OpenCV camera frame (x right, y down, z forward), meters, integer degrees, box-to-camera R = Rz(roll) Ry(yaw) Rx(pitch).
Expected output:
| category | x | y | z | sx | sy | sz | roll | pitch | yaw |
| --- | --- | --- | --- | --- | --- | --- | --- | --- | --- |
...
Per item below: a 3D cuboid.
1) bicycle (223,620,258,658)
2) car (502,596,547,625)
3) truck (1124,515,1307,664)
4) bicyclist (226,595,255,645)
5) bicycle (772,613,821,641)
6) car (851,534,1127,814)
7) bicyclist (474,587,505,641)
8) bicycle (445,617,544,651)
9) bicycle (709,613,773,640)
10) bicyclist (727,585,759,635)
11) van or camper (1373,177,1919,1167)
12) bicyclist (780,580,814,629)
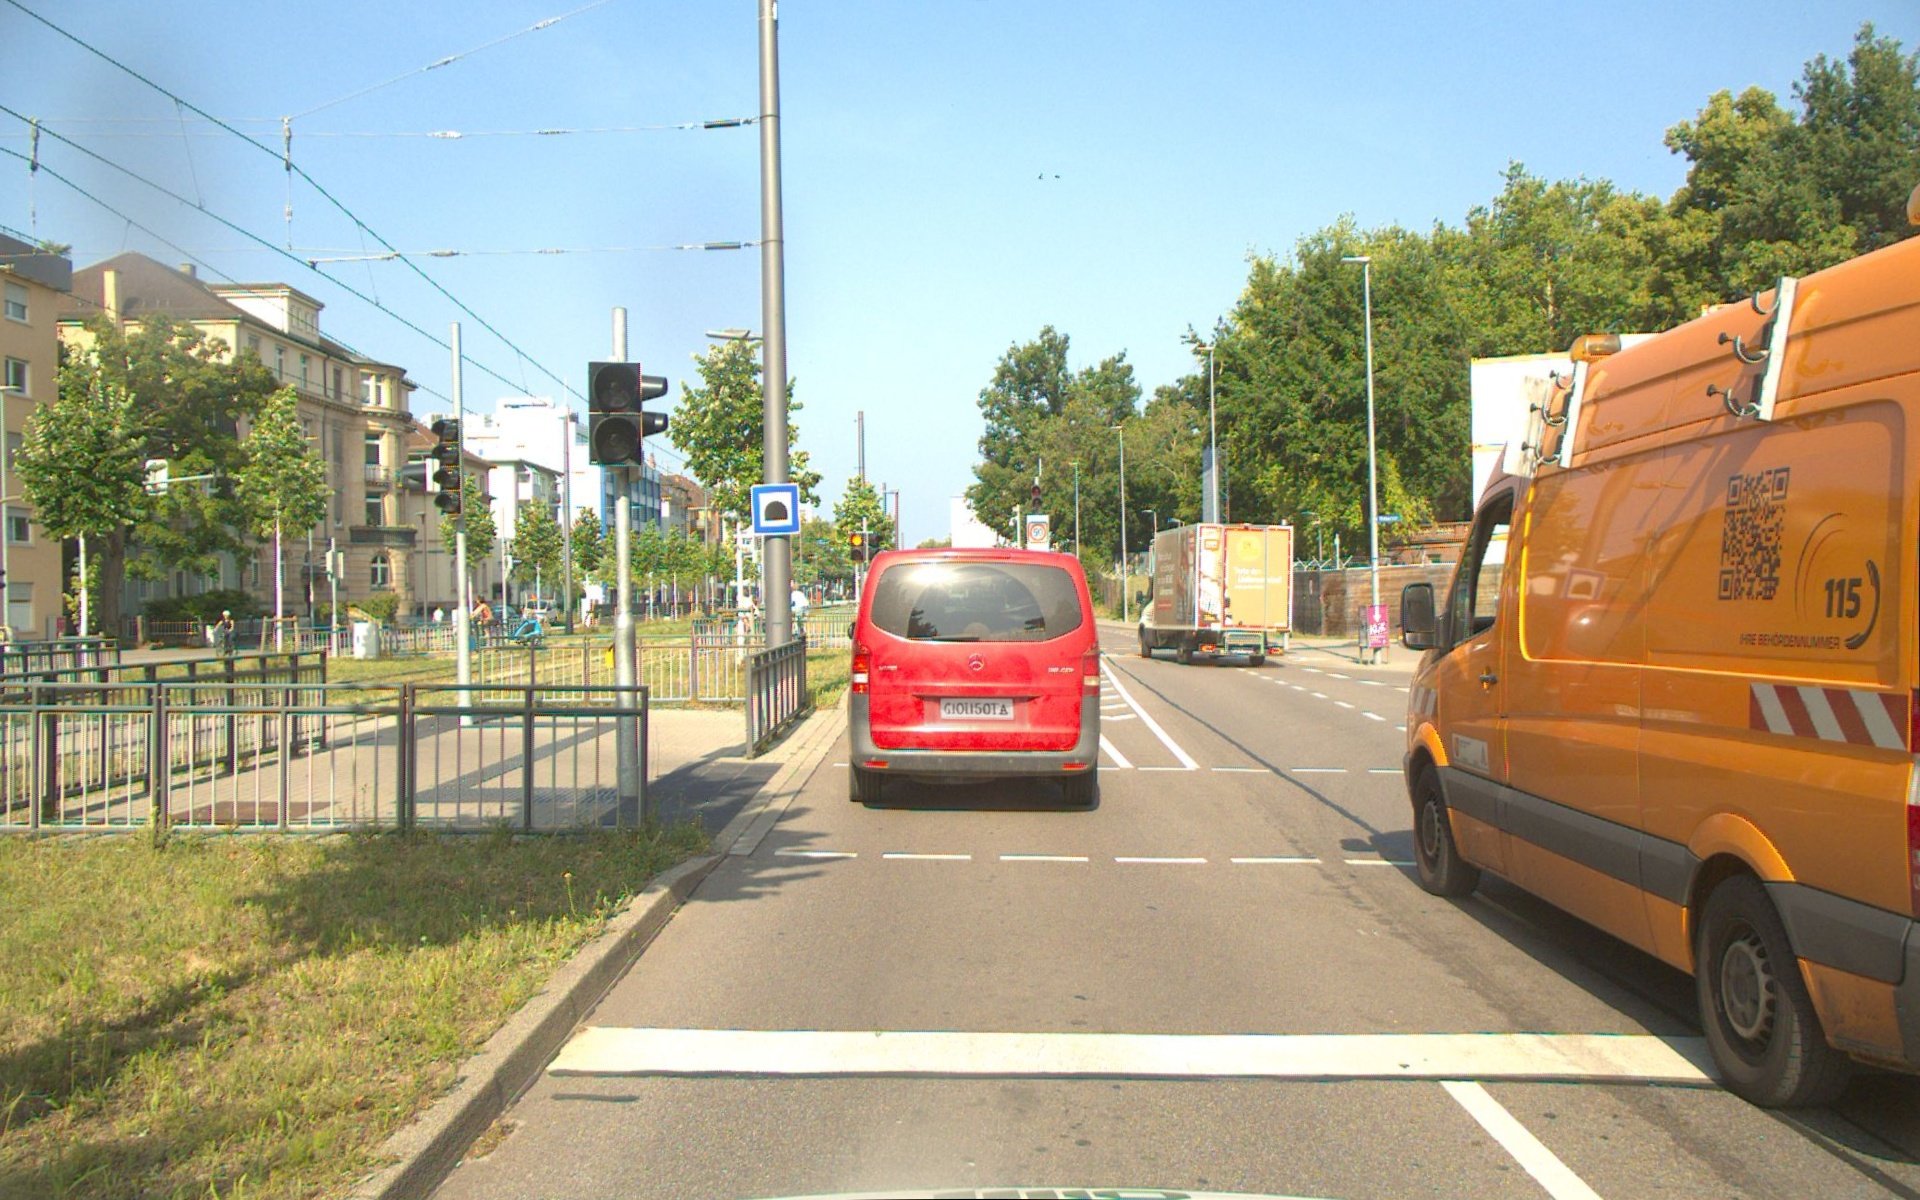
| category | x | y | z | sx | sy | sz | roll | pitch | yaw |
| --- | --- | --- | --- | --- | --- | --- | --- | --- | --- |
| bicycle | -26.770 | 1.442 | 61.571 | 0.681 | 1.369 | 1.755 | -1 | 0 | -6 |
| car | -33.087 | 0.806 | 125.856 | 2.204 | 2.049 | 5.260 | 1 | -2 | -3 |
| truck | 5.821 | -0.204 | 39.028 | 2.453 | 3.114 | 7.811 | 1 | 0 | -5 |
| bicyclist | -26.774 | 0.724 | 61.566 | 0.656 | 1.837 | 1.083 | -1 | 0 | -5 |
| bicycle | -4.919 | 0.818 | 49.851 | 0.704 | 0.812 | 1.602 | 1 | -1 | 27 |
| car | 0.177 | 0.499 | 13.258 | 1.862 | 1.892 | 3.999 | 1 | 0 | -1 |
| bicyclist | -14.764 | 0.436 | 51.920 | 0.875 | 1.657 | 0.889 | -1 | 0 | -14 |
| bicycle | -14.589 | 1.046 | 51.945 | 2.937 | 0.982 | 0.897 | -1 | 0 | -14 |
| bicycle | -6.901 | 0.831 | 52.112 | 1.957 | 0.807 | 0.628 | -1 | 0 | -6 |
| bicyclist | -6.831 | 0.304 | 52.118 | 0.964 | 1.526 | 0.620 | -1 | 0 | -6 |
| van or camper | 3.408 | 0.166 | 6.648 | 1.945 | 2.515 | 6.061 | 1 | 0 | 0 |
| bicyclist | -4.908 | 0.131 | 49.856 | 0.672 | 1.466 | 0.805 | 1 | -1 | 27 |
